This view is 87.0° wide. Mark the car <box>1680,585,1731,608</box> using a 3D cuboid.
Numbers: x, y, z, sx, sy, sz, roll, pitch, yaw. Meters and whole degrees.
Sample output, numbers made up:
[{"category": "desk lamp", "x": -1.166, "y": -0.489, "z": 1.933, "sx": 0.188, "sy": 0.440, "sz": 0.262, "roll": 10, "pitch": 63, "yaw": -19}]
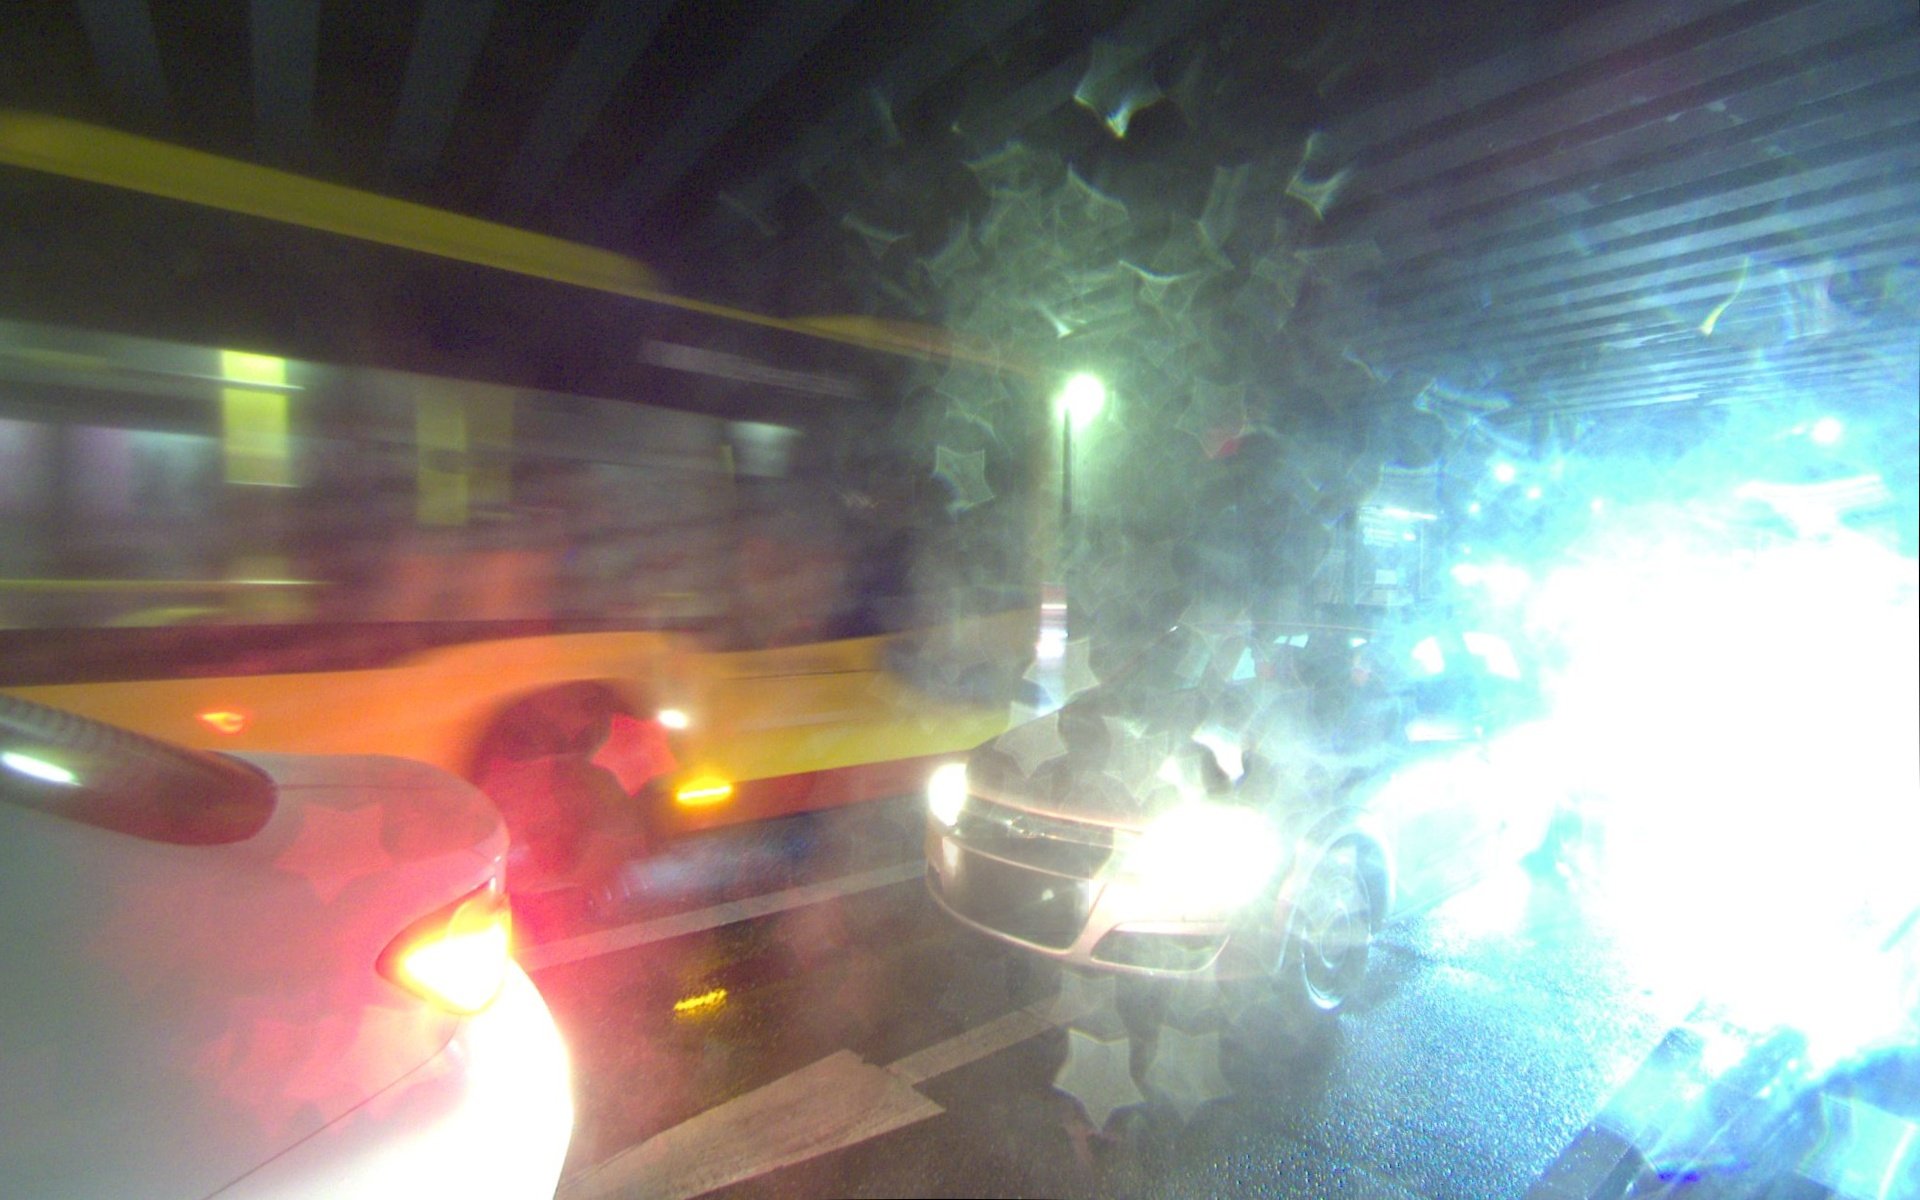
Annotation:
[{"category": "car", "x": 52.212, "y": -0.259, "z": 70.934, "sx": 1.833, "sy": 1.503, "sz": 4.451, "roll": 1, "pitch": 1, "yaw": 22}]

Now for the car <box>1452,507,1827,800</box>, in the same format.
[{"category": "car", "x": 6.509, "y": 0.360, "z": 9.503, "sx": 4.274, "sy": 2.115, "sz": 1.996, "roll": -1, "pitch": 0, "yaw": -43}]

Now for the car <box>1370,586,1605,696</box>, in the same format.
[{"category": "car", "x": 8.453, "y": 0.538, "z": 16.028, "sx": 4.549, "sy": 1.497, "sz": 1.840, "roll": -1, "pitch": 0, "yaw": -42}]

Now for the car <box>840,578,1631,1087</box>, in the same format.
[{"category": "car", "x": 1.566, "y": 0.623, "z": 4.847, "sx": 3.931, "sy": 1.384, "sz": 1.791, "roll": -2, "pitch": 2, "yaw": -41}]

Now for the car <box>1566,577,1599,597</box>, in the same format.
[{"category": "car", "x": 48.566, "y": -1.009, "z": 78.988, "sx": 1.865, "sy": 1.490, "sz": 3.961, "roll": 0, "pitch": 0, "yaw": 28}]

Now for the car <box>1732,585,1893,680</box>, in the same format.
[{"category": "car", "x": 15.369, "y": 0.503, "z": 18.177, "sx": 3.930, "sy": 1.522, "sz": 1.628, "roll": -1, "pitch": 0, "yaw": -41}]

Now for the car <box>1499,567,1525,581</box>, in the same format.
[{"category": "car", "x": 61.166, "y": -2.909, "z": 112.183, "sx": 1.859, "sy": 1.490, "sz": 3.974, "roll": 0, "pitch": 0, "yaw": 20}]

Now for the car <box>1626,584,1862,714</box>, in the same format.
[{"category": "car", "x": 10.774, "y": 0.550, "z": 13.826, "sx": 3.701, "sy": 1.531, "sz": 1.867, "roll": -1, "pitch": 0, "yaw": -41}]

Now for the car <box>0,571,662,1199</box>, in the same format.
[{"category": "car", "x": -2.679, "y": 0.687, "z": 0.995, "sx": 4.273, "sy": 1.422, "sz": 1.719, "roll": -1, "pitch": 0, "yaw": -41}]

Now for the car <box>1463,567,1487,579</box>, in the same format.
[{"category": "car", "x": 67.345, "y": -3.525, "z": 132.352, "sx": 1.853, "sy": 1.490, "sz": 3.986, "roll": 0, "pitch": 0, "yaw": 12}]

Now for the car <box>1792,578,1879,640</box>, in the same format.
[{"category": "car", "x": 24.588, "y": 0.214, "z": 28.379, "sx": 1.737, "sy": 1.610, "sz": 3.939, "roll": 0, "pitch": 0, "yaw": 42}]

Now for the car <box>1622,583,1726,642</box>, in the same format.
[{"category": "car", "x": 20.099, "y": 0.322, "z": 28.402, "sx": 1.847, "sy": 1.503, "sz": 4.558, "roll": 2, "pitch": 1, "yaw": 42}]

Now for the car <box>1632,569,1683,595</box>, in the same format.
[{"category": "car", "x": 40.344, "y": -1.072, "z": 58.620, "sx": 1.836, "sy": 1.449, "sz": 4.460, "roll": 0, "pitch": 2, "yaw": 27}]

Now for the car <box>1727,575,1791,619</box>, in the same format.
[{"category": "car", "x": 38.987, "y": -0.150, "z": 49.462, "sx": 1.984, "sy": 2.039, "sz": 3.956, "roll": 0, "pitch": 0, "yaw": 31}]

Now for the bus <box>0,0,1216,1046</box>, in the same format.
[{"category": "bus", "x": -2.558, "y": -0.246, "z": 5.242, "sx": 9.596, "sy": 3.163, "sz": 2.772, "roll": 0, "pitch": 0, "yaw": -43}]

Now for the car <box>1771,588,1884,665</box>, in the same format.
[{"category": "car", "x": 18.752, "y": 0.497, "z": 21.823, "sx": 1.678, "sy": 1.490, "sz": 3.938, "roll": 0, "pitch": 0, "yaw": 43}]
